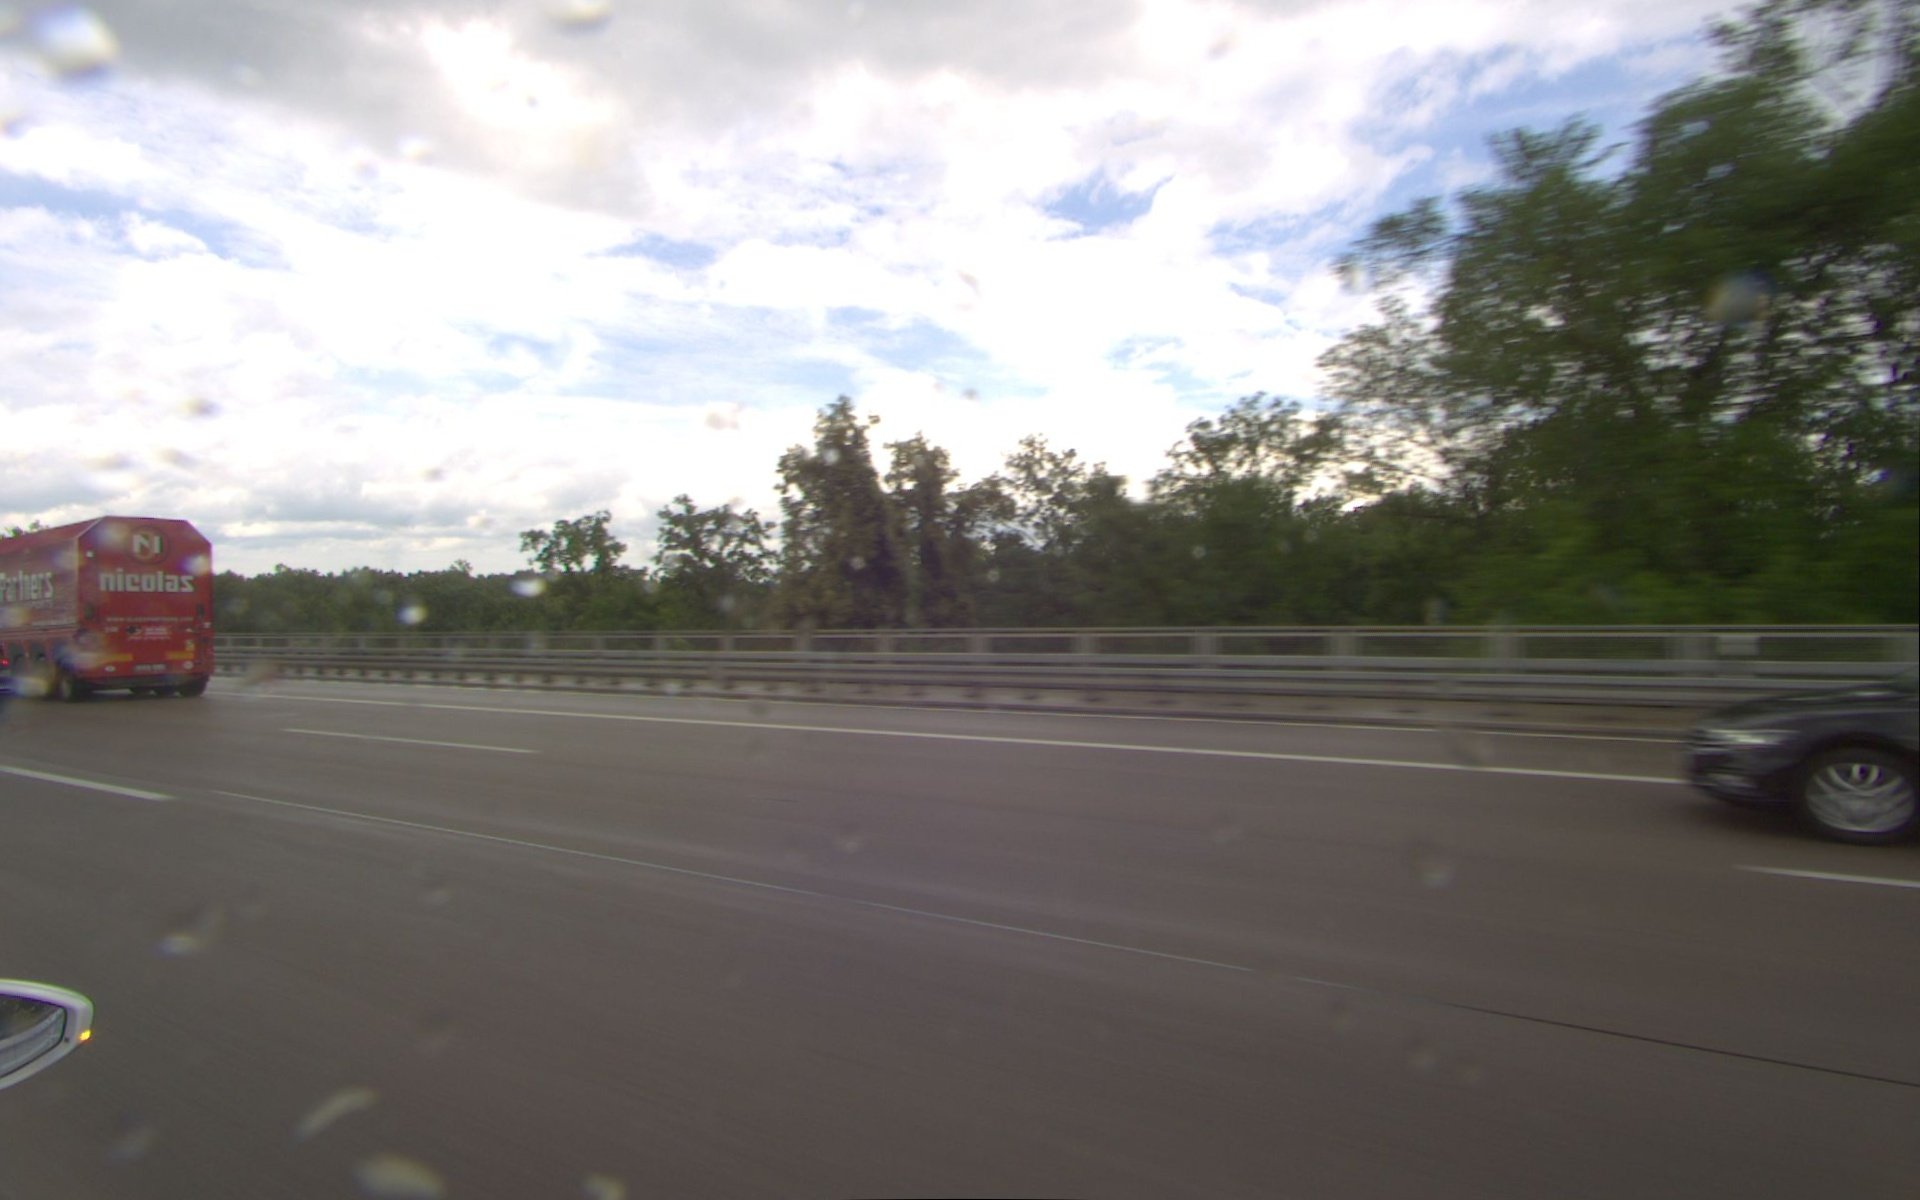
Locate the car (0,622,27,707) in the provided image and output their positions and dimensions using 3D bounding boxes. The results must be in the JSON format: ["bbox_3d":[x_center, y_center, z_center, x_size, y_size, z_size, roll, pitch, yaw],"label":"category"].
[{"bbox_3d":[-19.591,1.217,19.089,3.669,1.582,1.789,-1,-1,32],"label":"car"}]

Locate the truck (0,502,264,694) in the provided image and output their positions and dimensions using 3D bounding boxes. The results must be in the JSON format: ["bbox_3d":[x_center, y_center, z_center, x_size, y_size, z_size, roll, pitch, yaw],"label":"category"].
[{"bbox_3d":[-23.936,0.054,26.633,15.411,4.055,3.147,-1,-1,32],"label":"truck"}]

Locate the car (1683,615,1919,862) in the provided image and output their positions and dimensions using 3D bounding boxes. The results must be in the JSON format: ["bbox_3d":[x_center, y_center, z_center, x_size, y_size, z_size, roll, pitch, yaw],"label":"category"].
[{"bbox_3d":[7.508,0.884,6.574,4.292,1.563,1.813,-1,-1,30],"label":"car"}]
